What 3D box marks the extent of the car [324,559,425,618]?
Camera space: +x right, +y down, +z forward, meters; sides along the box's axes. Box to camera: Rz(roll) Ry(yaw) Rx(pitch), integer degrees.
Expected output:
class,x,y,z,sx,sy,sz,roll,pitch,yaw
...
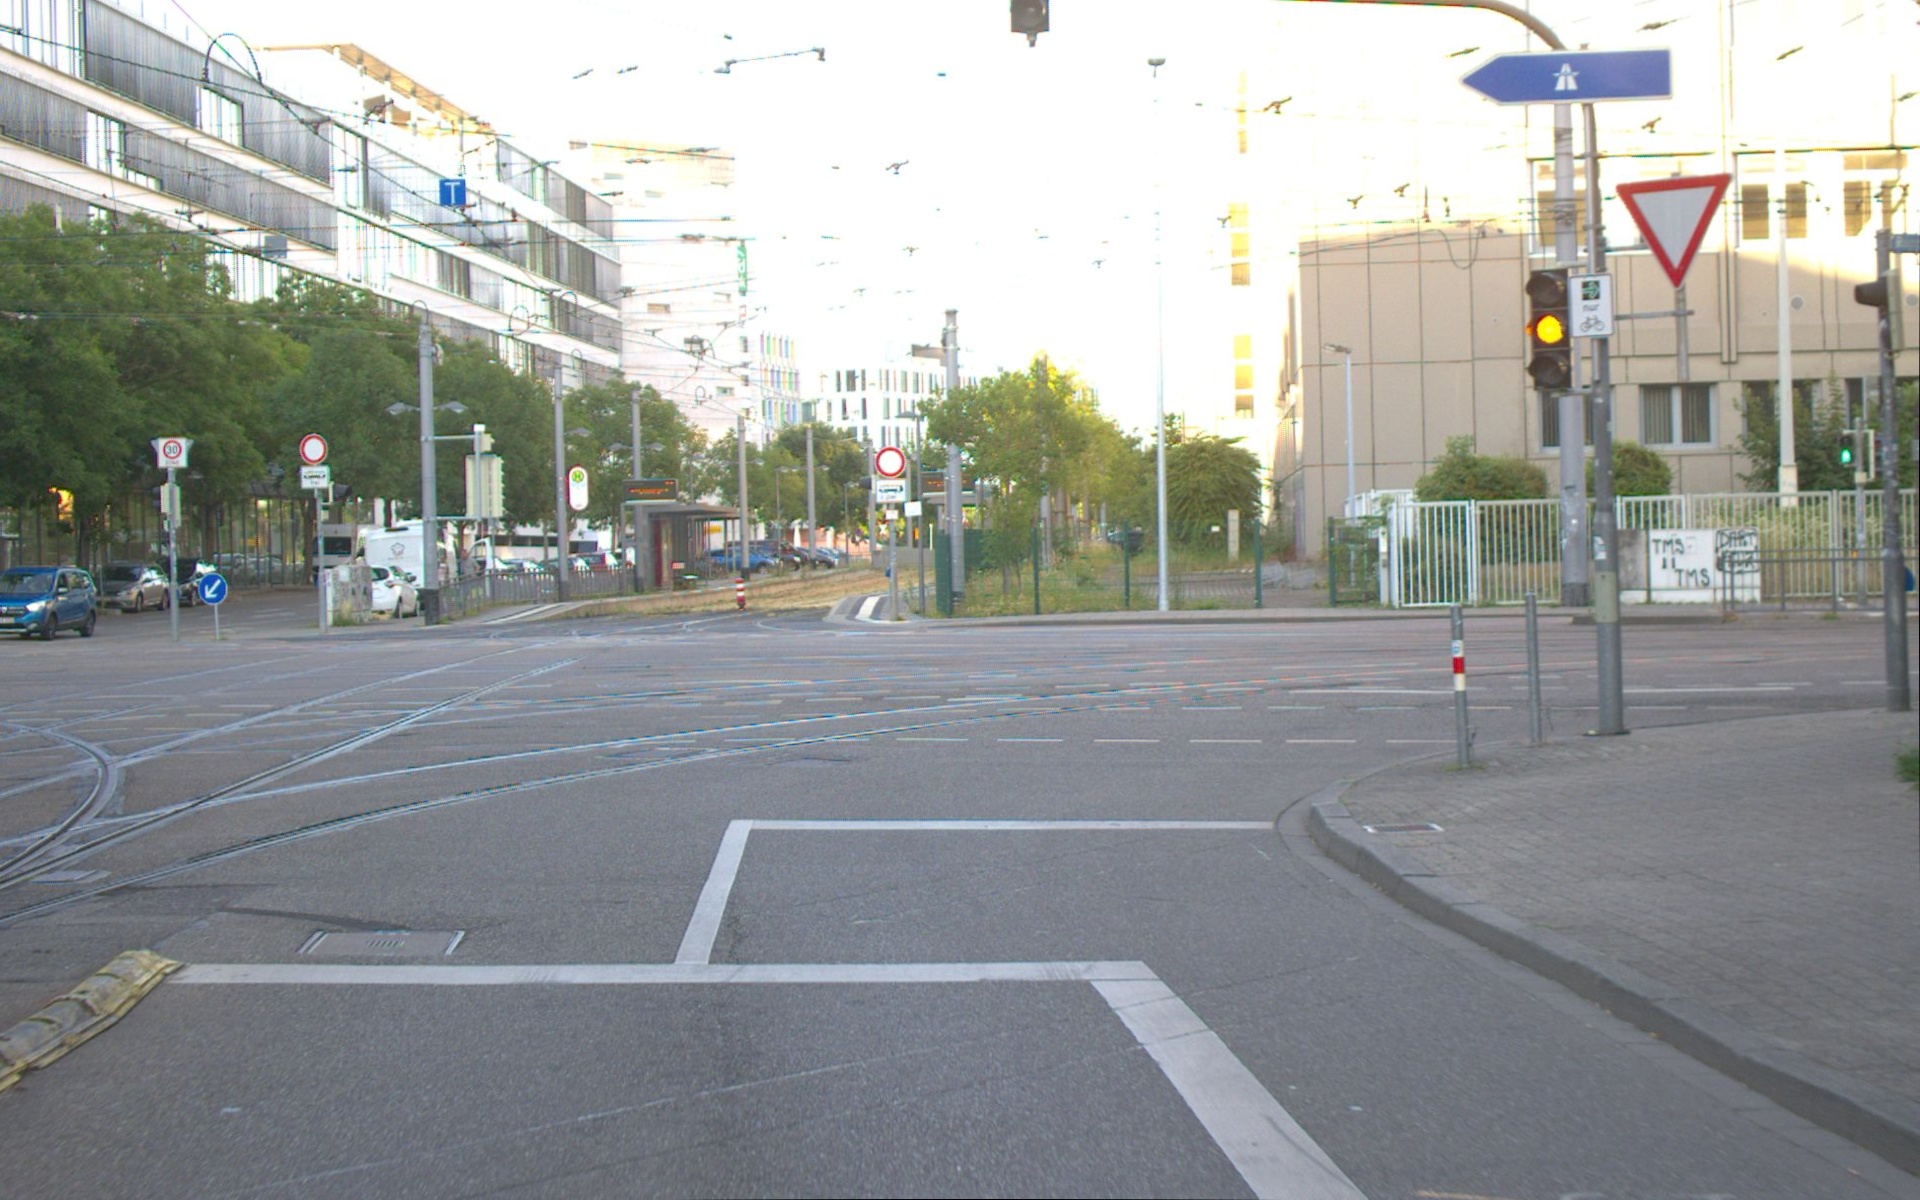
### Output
class,x,y,z,sx,sy,sz,roll,pitch,yaw
car,-15.264,-0.321,89.783,1.683,1.434,4.125,-1,1,4

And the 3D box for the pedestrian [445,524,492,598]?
class,x,y,z,sx,sy,sz,roll,pitch,yaw
pedestrian,-13.772,-1.095,96.323,1.039,2.023,0.984,-2,1,-24

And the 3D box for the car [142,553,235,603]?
class,x,y,z,sx,sy,sz,roll,pitch,yaw
car,-24.656,-0.715,109.999,1.683,1.496,4.239,-1,1,4

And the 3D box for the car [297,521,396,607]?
class,x,y,z,sx,sy,sz,roll,pitch,yaw
car,-23.475,-1.413,131.748,2.202,3.141,6.142,-1,1,4

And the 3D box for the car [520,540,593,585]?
class,x,y,z,sx,sy,sz,roll,pitch,yaw
car,-13.442,-1.274,114.691,1.683,1.434,4.125,-1,1,4

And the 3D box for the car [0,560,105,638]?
class,x,y,z,sx,sy,sz,roll,pitch,yaw
car,-21.339,-0.041,79.534,1.683,1.694,4.238,-1,1,5

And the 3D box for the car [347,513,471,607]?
class,x,y,z,sx,sy,sz,roll,pitch,yaw
car,-15.279,-1.142,95.617,2.461,2.474,5.809,-1,1,0

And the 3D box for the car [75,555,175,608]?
class,x,y,z,sx,sy,sz,roll,pitch,yaw
car,-25.213,-0.564,103.899,1.683,1.496,4.239,-1,1,4

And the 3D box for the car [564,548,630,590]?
class,x,y,z,sx,sy,sz,roll,pitch,yaw
car,-12.992,-1.122,123.210,1.683,1.434,4.125,-1,1,4
